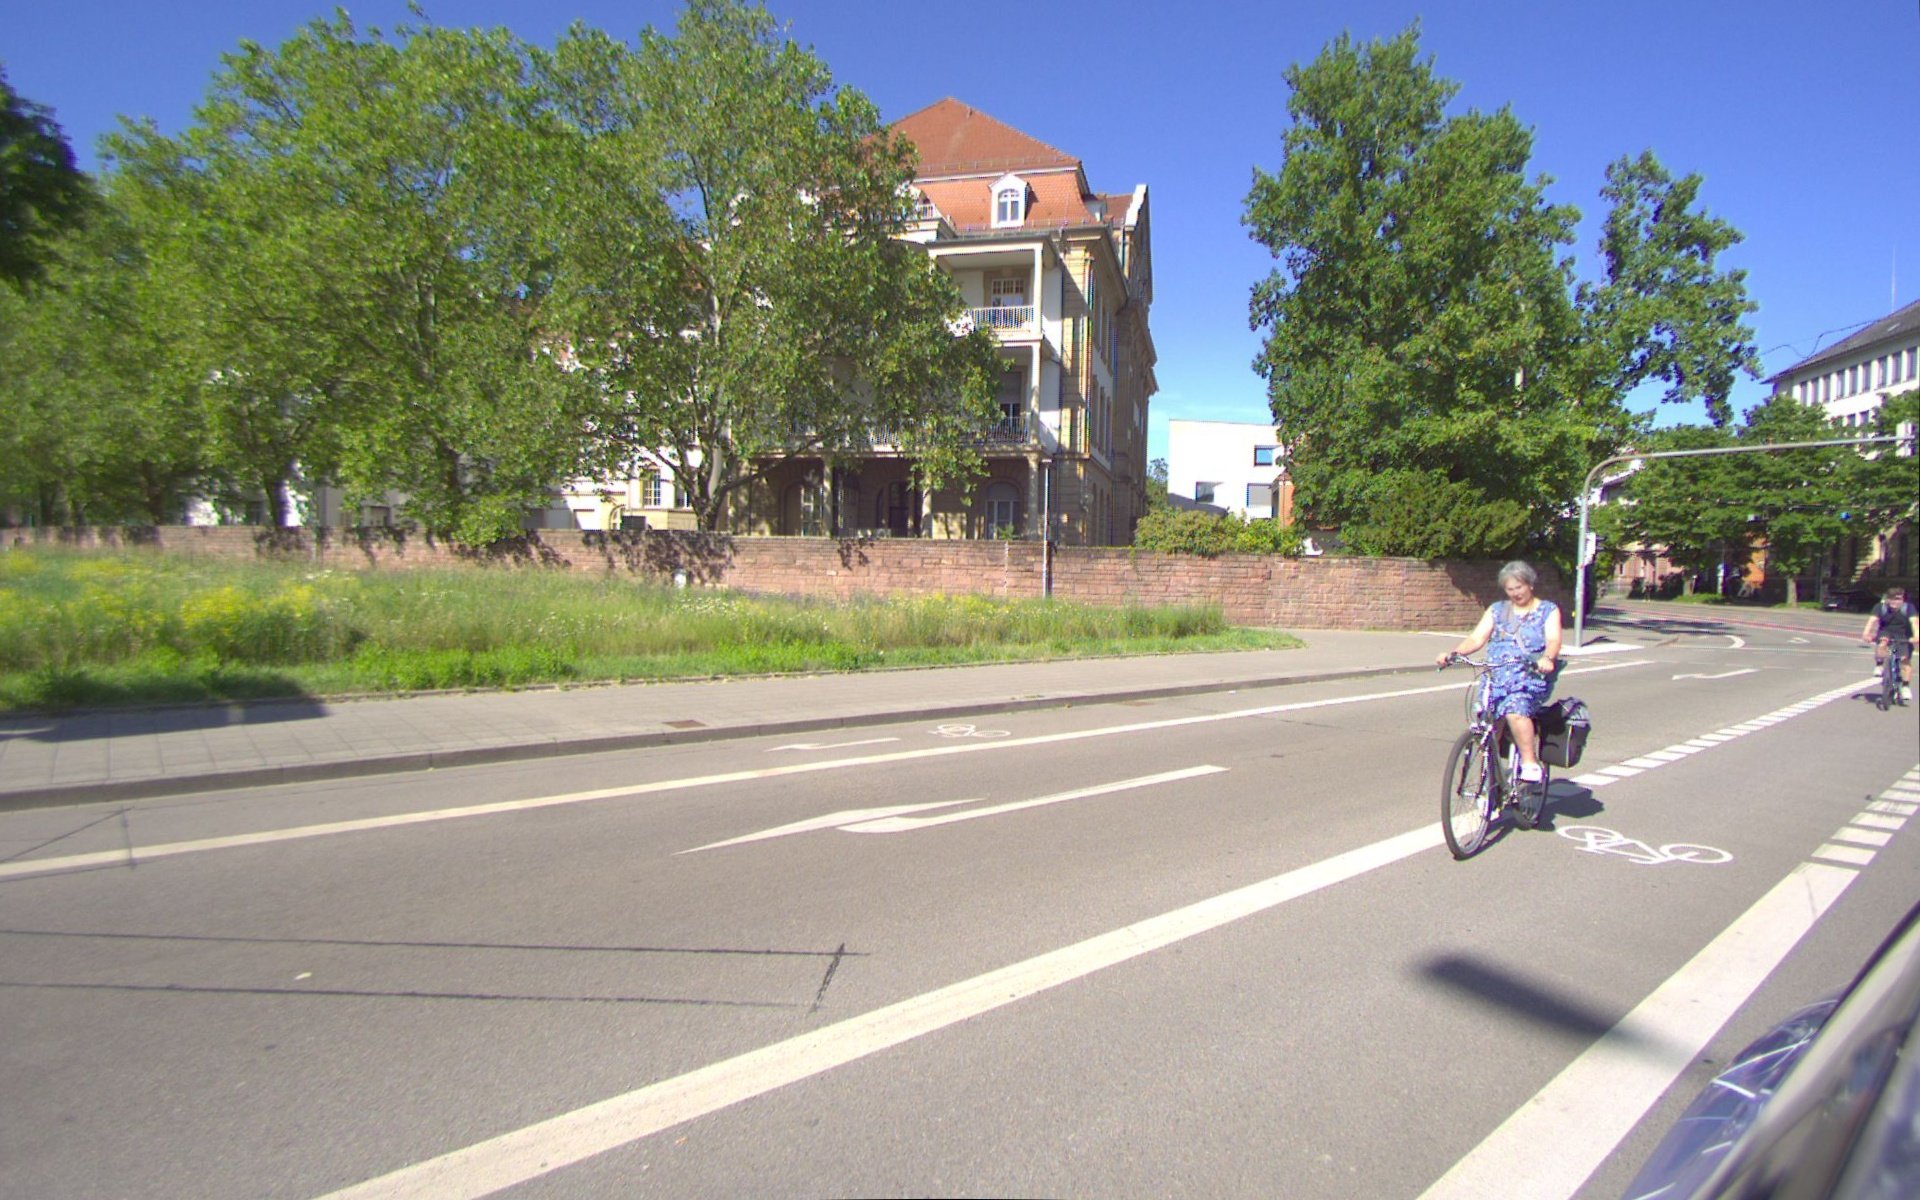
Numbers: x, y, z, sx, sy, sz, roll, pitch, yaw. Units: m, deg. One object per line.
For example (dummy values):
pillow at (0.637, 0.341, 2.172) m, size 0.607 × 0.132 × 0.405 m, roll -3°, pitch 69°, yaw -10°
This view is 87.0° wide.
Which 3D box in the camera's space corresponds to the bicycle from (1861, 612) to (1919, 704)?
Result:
bicycle at (13.171, 0.770, 14.126) m, size 1.837 × 1.180 × 0.642 m, roll 0°, pitch 1°, yaw -41°

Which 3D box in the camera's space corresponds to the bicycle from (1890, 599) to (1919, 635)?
bicycle at (32.382, 0.561, 34.605) m, size 1.936 × 1.179 × 0.777 m, roll 0°, pitch 1°, yaw -45°

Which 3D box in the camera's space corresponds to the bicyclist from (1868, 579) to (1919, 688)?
bicyclist at (13.180, 0.449, 14.121) m, size 0.936 × 1.462 × 0.642 m, roll 1°, pitch 0°, yaw -41°

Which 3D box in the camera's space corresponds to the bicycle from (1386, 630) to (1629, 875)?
bicycle at (3.342, 0.812, 6.091) m, size 1.933 × 1.179 × 0.642 m, roll 0°, pitch 1°, yaw -41°

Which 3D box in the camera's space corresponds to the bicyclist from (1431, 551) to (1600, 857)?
bicyclist at (3.327, 0.558, 6.065) m, size 0.763 × 1.683 × 0.642 m, roll -1°, pitch 2°, yaw -41°

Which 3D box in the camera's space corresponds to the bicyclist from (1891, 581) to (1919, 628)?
bicyclist at (32.376, 0.134, 34.583) m, size 0.905 × 1.571 × 0.777 m, roll 0°, pitch 1°, yaw -45°

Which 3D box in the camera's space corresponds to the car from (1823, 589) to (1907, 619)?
car at (60.920, 0.238, 68.156) m, size 3.731 × 1.838 × 1.999 m, roll 1°, pitch 2°, yaw 3°

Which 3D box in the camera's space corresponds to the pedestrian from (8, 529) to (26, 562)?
pedestrian at (-48.082, -2.774, 51.595) m, size 0.642 × 1.631 × 0.557 m, roll 0°, pitch 0°, yaw -42°

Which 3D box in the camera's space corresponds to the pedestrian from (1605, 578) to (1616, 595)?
pedestrian at (62.390, -1.280, 97.085) m, size 0.626 × 1.631 × 0.844 m, roll 0°, pitch 0°, yaw 10°
